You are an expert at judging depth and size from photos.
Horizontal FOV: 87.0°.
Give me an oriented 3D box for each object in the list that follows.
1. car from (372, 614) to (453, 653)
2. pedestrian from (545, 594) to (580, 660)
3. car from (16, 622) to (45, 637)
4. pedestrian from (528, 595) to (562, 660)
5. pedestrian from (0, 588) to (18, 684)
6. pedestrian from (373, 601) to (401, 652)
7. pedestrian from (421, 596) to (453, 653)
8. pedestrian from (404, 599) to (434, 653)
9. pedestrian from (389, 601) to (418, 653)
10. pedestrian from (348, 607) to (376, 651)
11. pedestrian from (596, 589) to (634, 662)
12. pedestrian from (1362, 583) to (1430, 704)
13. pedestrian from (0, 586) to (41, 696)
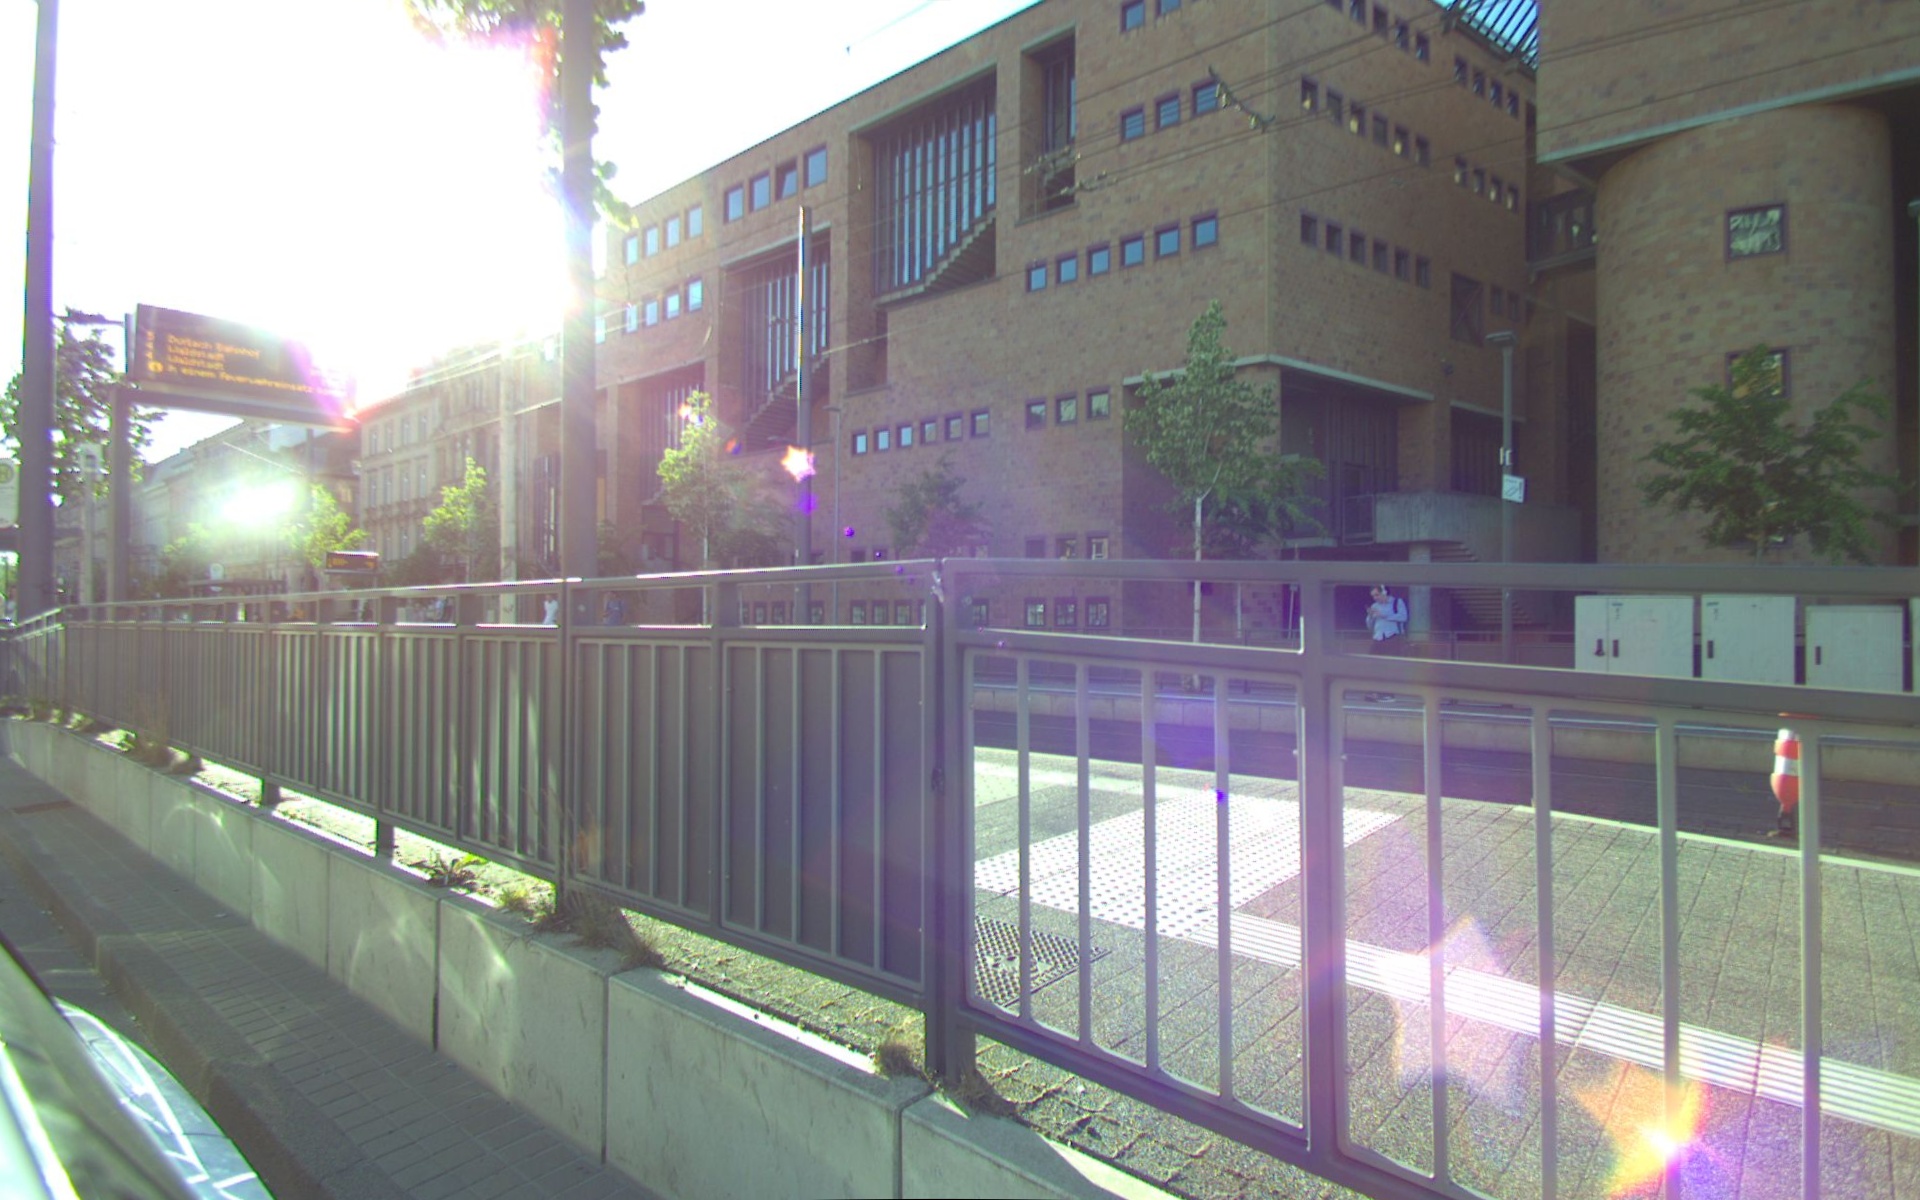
[{"bbox_3d":[-22.157,1.335,40.916,3.702,1.497,1.681,-2,-2,41],"label":"car"},{"bbox_3d":[-10.767,0.721,27.428,0.586,1.755,0.684,-2,-2,38],"label":"pedestrian"},{"bbox_3d":[-96.076,3.078,104.593,3.701,1.497,1.681,-2,-2,40],"label":"car"},{"bbox_3d":[-11.473,0.764,27.979,0.586,1.755,0.684,-2,-2,38],"label":"pedestrian"},{"bbox_3d":[-20.752,0.774,21.643,0.880,2.029,0.774,-2,-2,42],"label":"pedestrian"},{"bbox_3d":[-19.853,0.915,35.061,0.586,1.755,0.684,-2,-2,38],"label":"pedestrian"},{"bbox_3d":[-16.128,0.755,31.210,0.586,1.755,0.684,-2,-2,38],"label":"pedestrian"},{"bbox_3d":[-17.808,0.847,33.317,0.586,1.755,0.684,-2,-2,38],"label":"pedestrian"},{"bbox_3d":[-18.831,0.916,34.224,0.586,1.755,0.684,-2,-2,38],"label":"pedestrian"},{"bbox_3d":[-21.738,1.052,36.788,0.586,1.587,0.684,-2,-2,38],"label":"pedestrian"},{"bbox_3d":[-8.411,0.620,24.668,0.586,1.755,0.684,-2,-2,38],"label":"pedestrian"},{"bbox_3d":[5.787,0.571,13.421,0.653,1.546,0.693,-1,-2,38],"label":"pedestrian"},{"bbox_3d":[-17.862,0.767,19.030,0.880,2.029,0.773,-2,-2,43],"label":"pedestrian"}]
